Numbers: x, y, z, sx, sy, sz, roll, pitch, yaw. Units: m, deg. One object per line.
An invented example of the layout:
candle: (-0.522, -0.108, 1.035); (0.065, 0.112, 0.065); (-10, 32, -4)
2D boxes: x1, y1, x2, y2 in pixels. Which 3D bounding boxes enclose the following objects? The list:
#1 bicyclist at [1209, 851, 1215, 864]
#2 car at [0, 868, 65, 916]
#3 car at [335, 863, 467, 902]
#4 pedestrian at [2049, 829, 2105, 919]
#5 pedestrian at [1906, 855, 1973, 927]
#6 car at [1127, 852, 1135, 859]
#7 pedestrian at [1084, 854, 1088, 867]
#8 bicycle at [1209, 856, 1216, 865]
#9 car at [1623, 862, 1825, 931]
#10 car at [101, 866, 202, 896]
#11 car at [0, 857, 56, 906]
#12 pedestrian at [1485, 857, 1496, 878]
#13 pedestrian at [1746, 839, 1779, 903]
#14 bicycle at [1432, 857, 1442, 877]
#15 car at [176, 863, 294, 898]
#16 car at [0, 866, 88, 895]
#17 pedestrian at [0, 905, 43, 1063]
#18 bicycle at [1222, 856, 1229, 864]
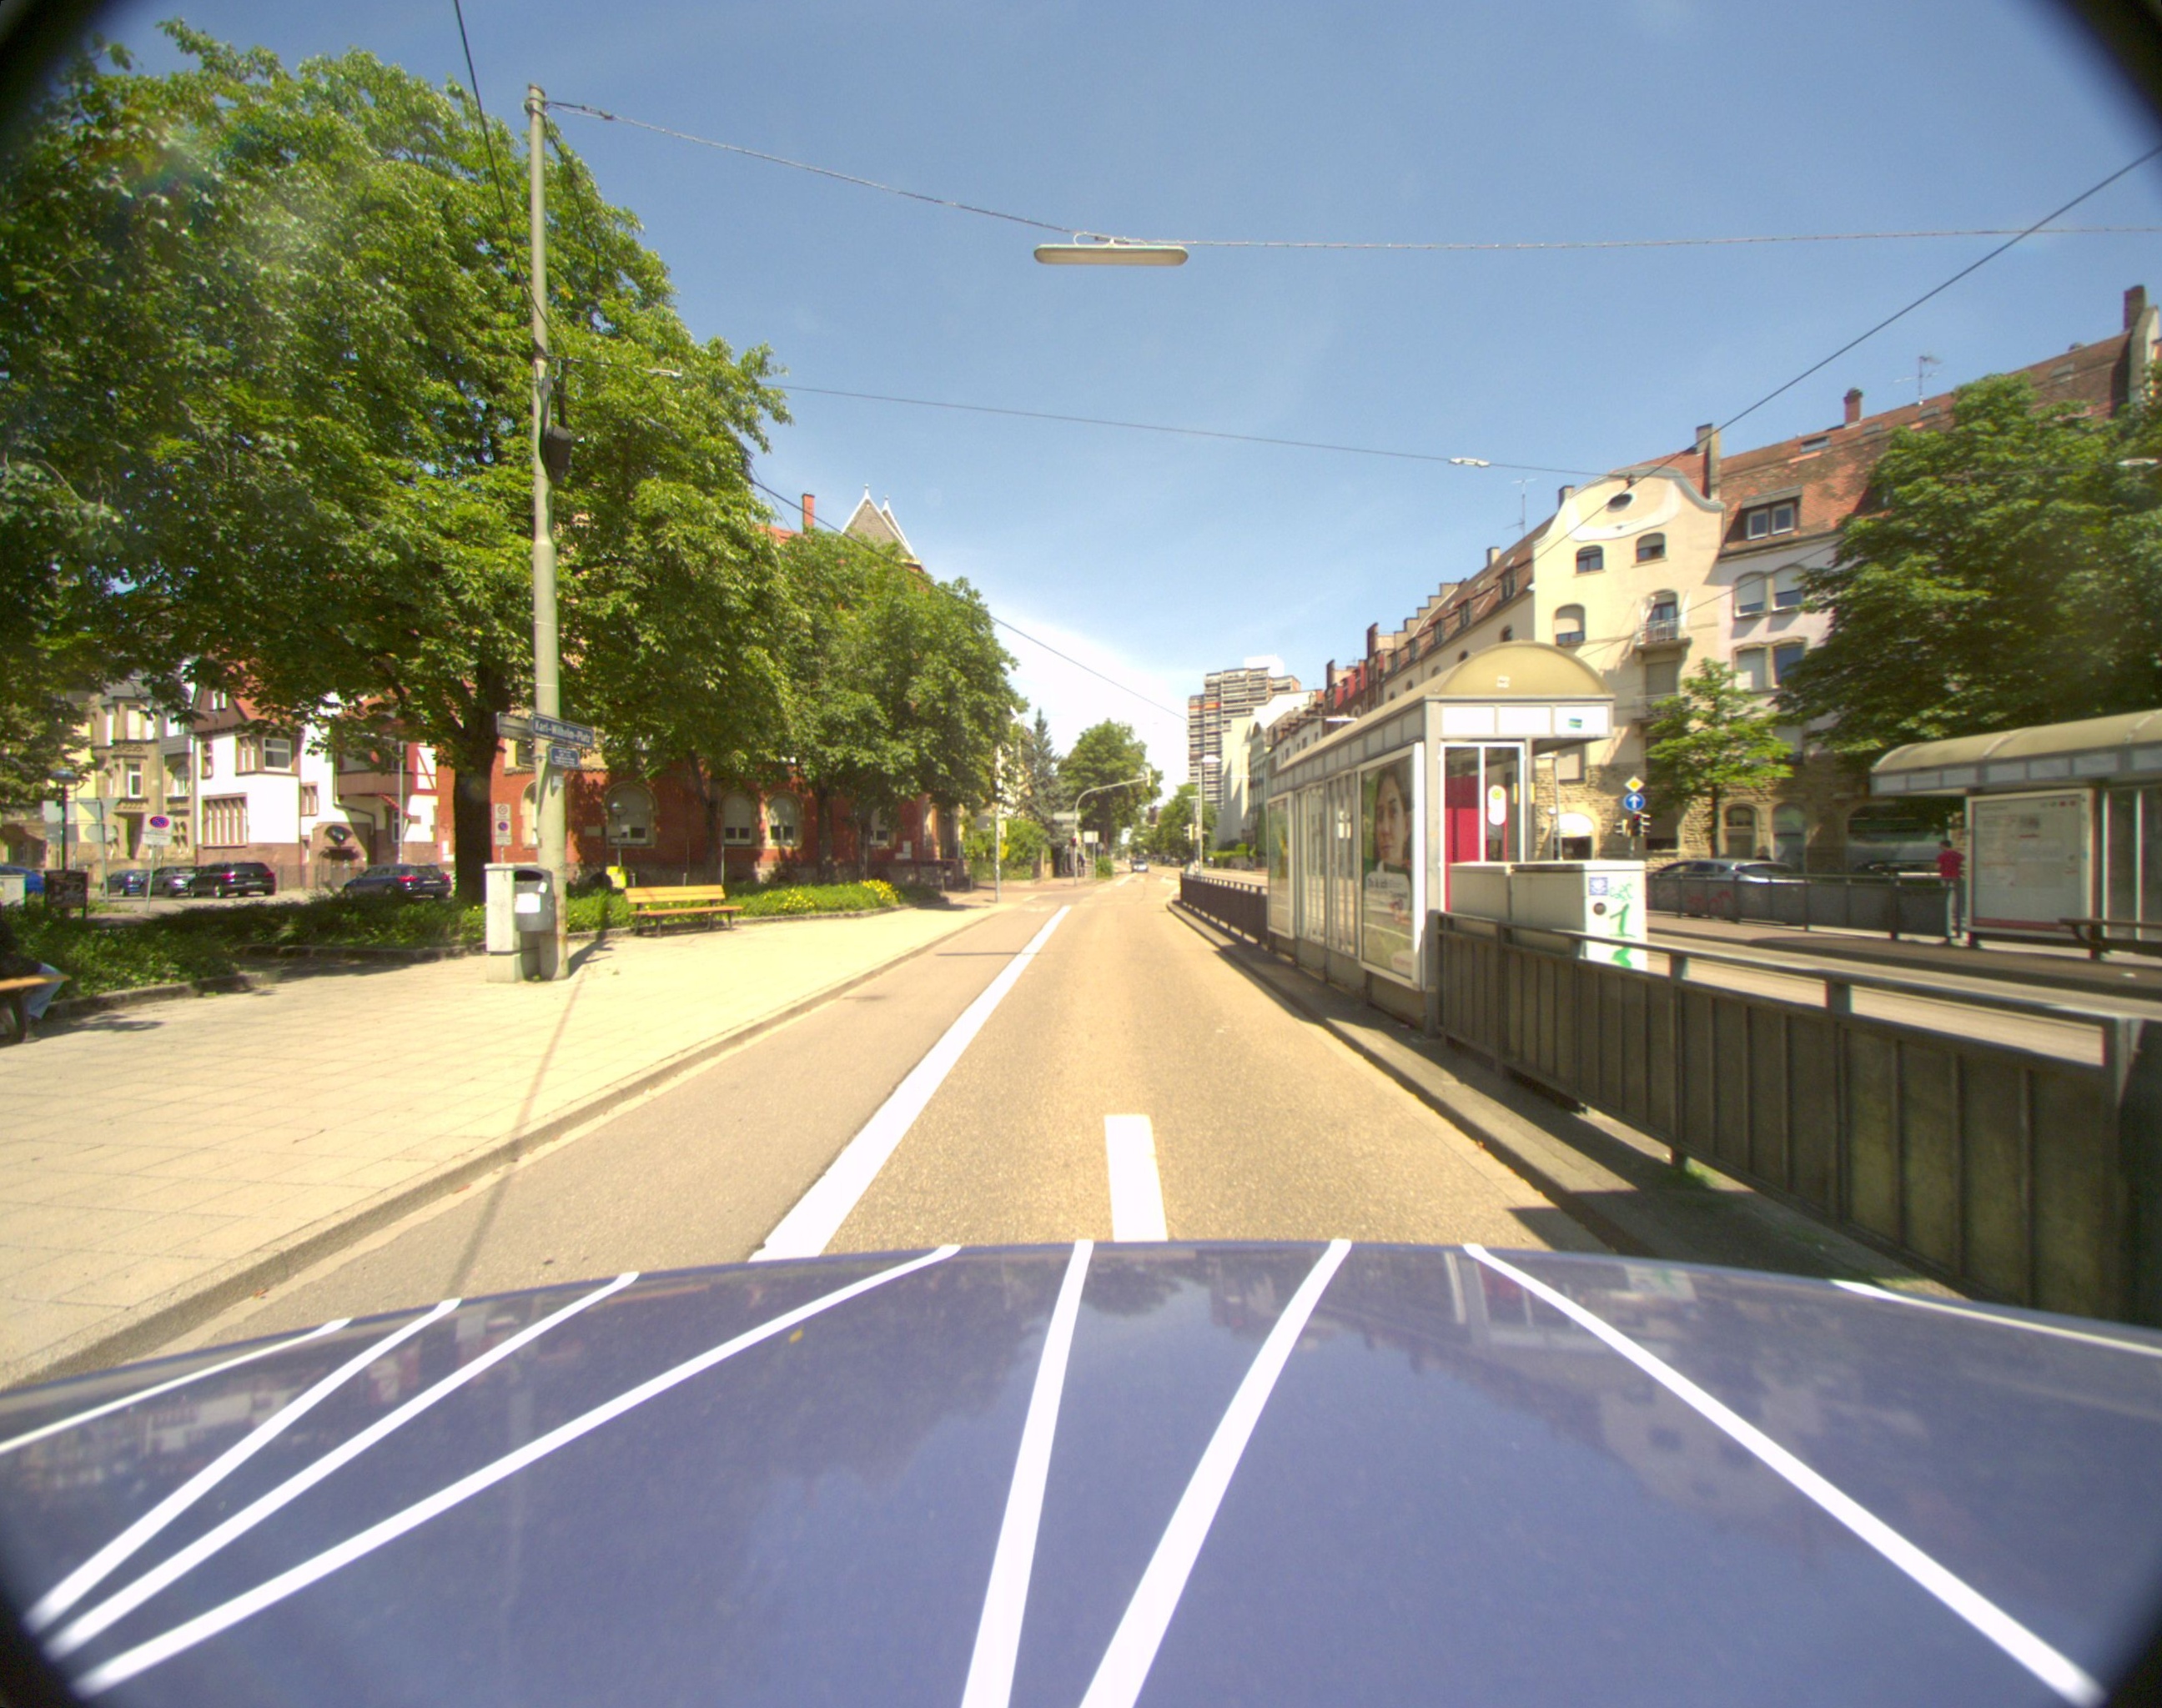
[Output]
bicyclist: (16.079, 0.434, 93.078); (0.609, 1.565, 0.585); (-1, 1, 1)
car: (-32.904, 1.119, 21.965); (1.723, 1.421, 3.895); (-1, -1, 20)
car: (-27.170, 1.111, 30.351); (4.748, 1.433, 1.908); (-1, 1, 21)
pedestrian: (20.926, 0.416, 15.977); (0.511, 1.868, 0.494); (-1, 1, 6)
pedestrian: (19.656, 0.820, 17.412); (0.681, 1.596, 0.773); (-1, 1, -2)
car: (15.346, 0.363, 233.146); (1.998, 2.002, 4.000); (-1, 1, 1)
pedestrian: (0.683, 0.800, 98.806); (0.547, 1.683, 0.755); (0, 1, 1)
bicycle: (16.114, 0.777, 93.175); (0.629, 1.150, 1.978); (-1, 0, 1)
car: (14.750, 0.903, 17.716); (1.544, 1.331, 3.718); (-1, 1, 0)
car: (-48.487, 1.395, 39.629); (4.605, 1.456, 1.908); (-1, 1, 21)
car: (-37.115, 0.918, 24.660); (1.723, 1.642, 4.273); (-1, -1, 20)
pedestrian: (23.076, 0.749, 42.848); (0.406, 1.142, 0.405); (-1, 1, -2)
pedestrian: (19.479, 0.482, 21.729); (0.511, 1.812, 0.494); (-1, 1, 3)
bicycle: (22.851, 0.814, 48.777); (0.454, 1.218, 2.083); (-1, 1, 21)
car: (-40.082, 1.220, 35.988); (5.477, 1.523, 1.991); (-1, 1, 22)
car: (-59.608, 1.494, 43.646); (4.391, 1.547, 1.908); (-1, 1, 21)
pedestrian: (-7.805, 0.916, 5.286); (0.510, 1.085, 0.478); (1, 0, 7)
bicycle: (19.079, 0.809, 100.274); (0.493, 1.090, 2.047); (-1, 0, 1)
